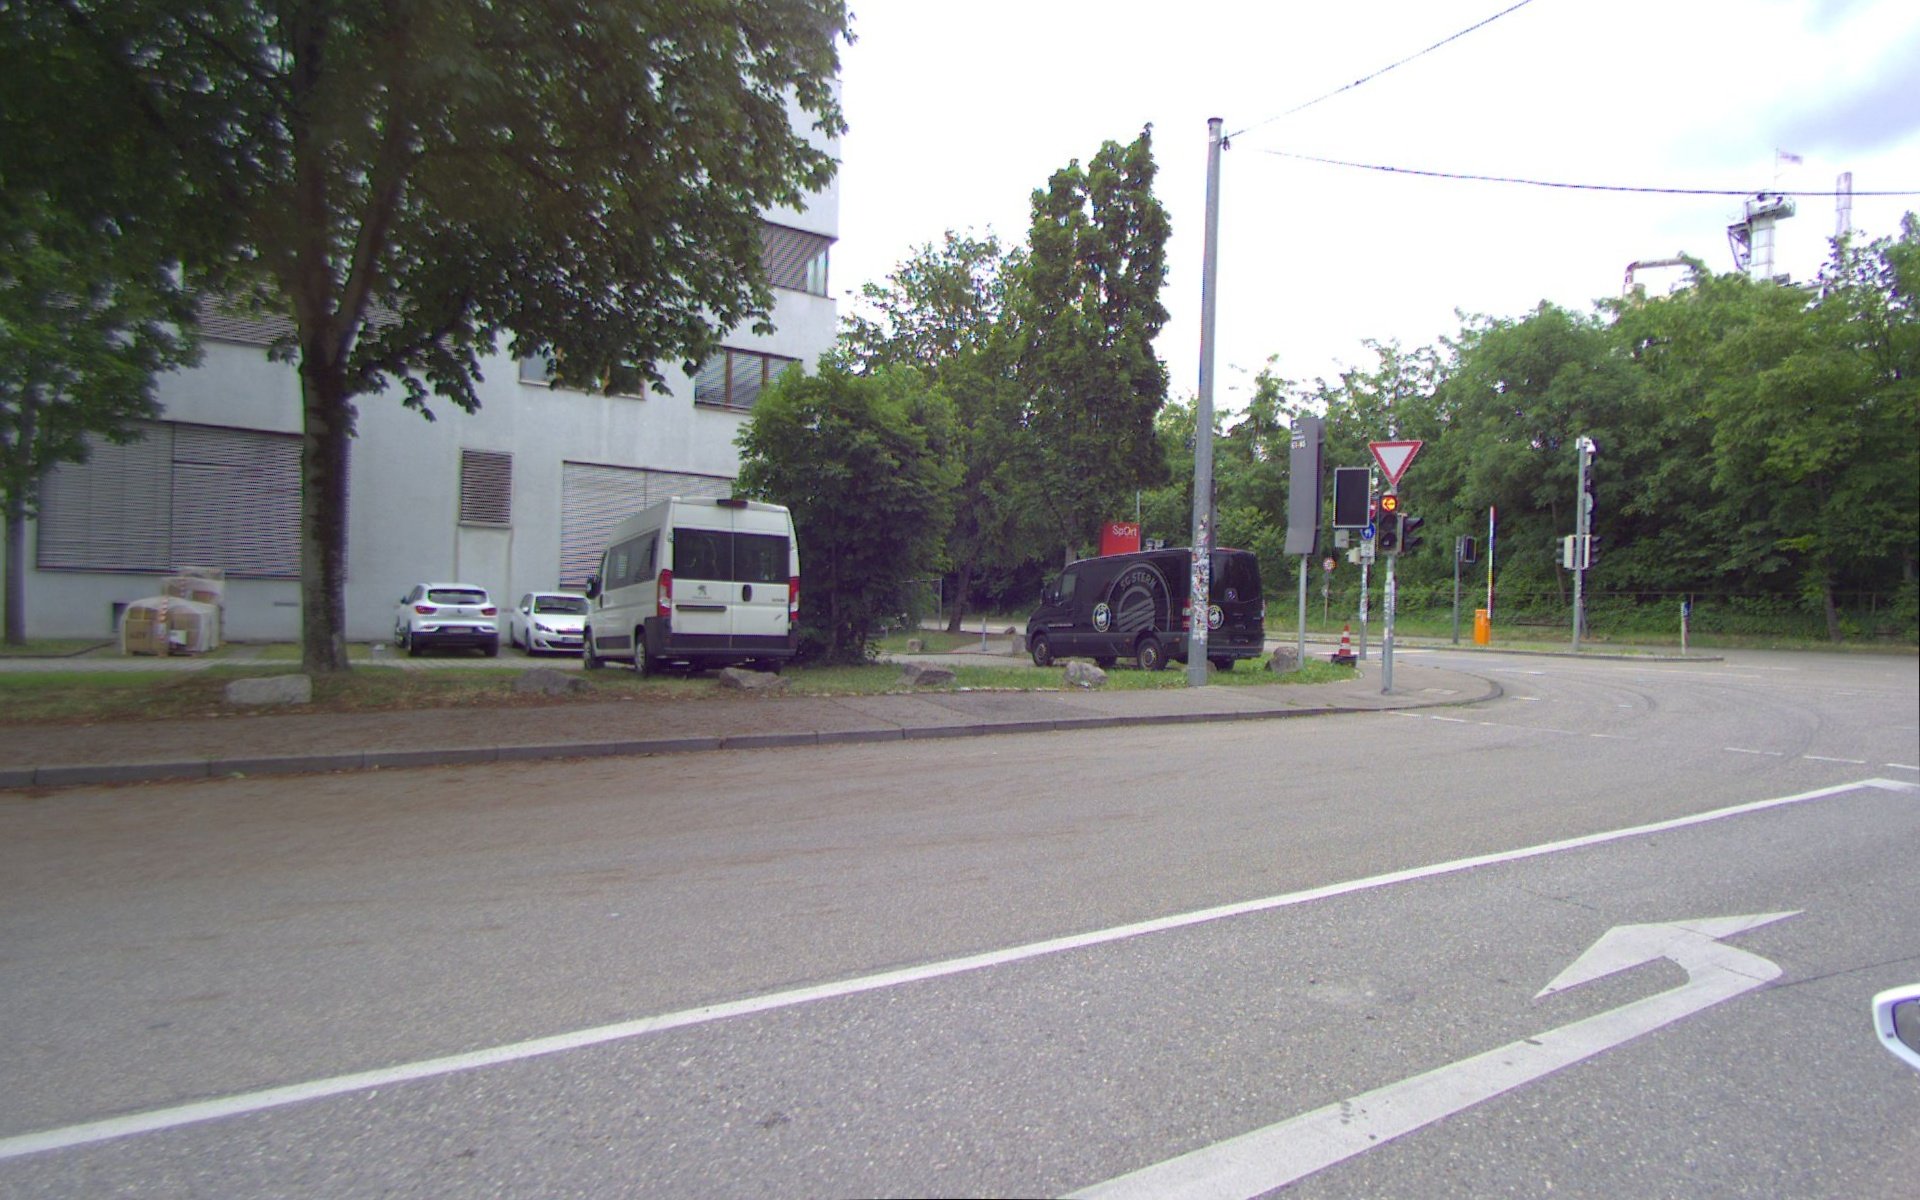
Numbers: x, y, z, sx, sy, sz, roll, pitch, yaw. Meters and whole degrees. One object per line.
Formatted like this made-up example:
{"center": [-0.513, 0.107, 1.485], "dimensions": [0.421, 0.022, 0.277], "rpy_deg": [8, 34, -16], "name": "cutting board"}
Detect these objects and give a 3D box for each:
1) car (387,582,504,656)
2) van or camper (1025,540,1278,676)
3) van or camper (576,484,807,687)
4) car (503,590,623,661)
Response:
{"center": [-11.928, 0.396, 23.167], "dimensions": [1.881, 1.475, 3.972], "rpy_deg": [4, 0, -34], "name": "car"}
{"center": [3.660, 0.256, 20.471], "dimensions": [2.036, 2.343, 5.513], "rpy_deg": [3, -3, -28], "name": "van or camper"}
{"center": [-4.360, -0.200, 15.656], "dimensions": [2.039, 2.604, 4.943], "rpy_deg": [3, 0, -32], "name": "van or camper"}
{"center": [-9.857, 0.589, 24.773], "dimensions": [1.881, 1.475, 3.972], "rpy_deg": [4, 0, -34], "name": "car"}
